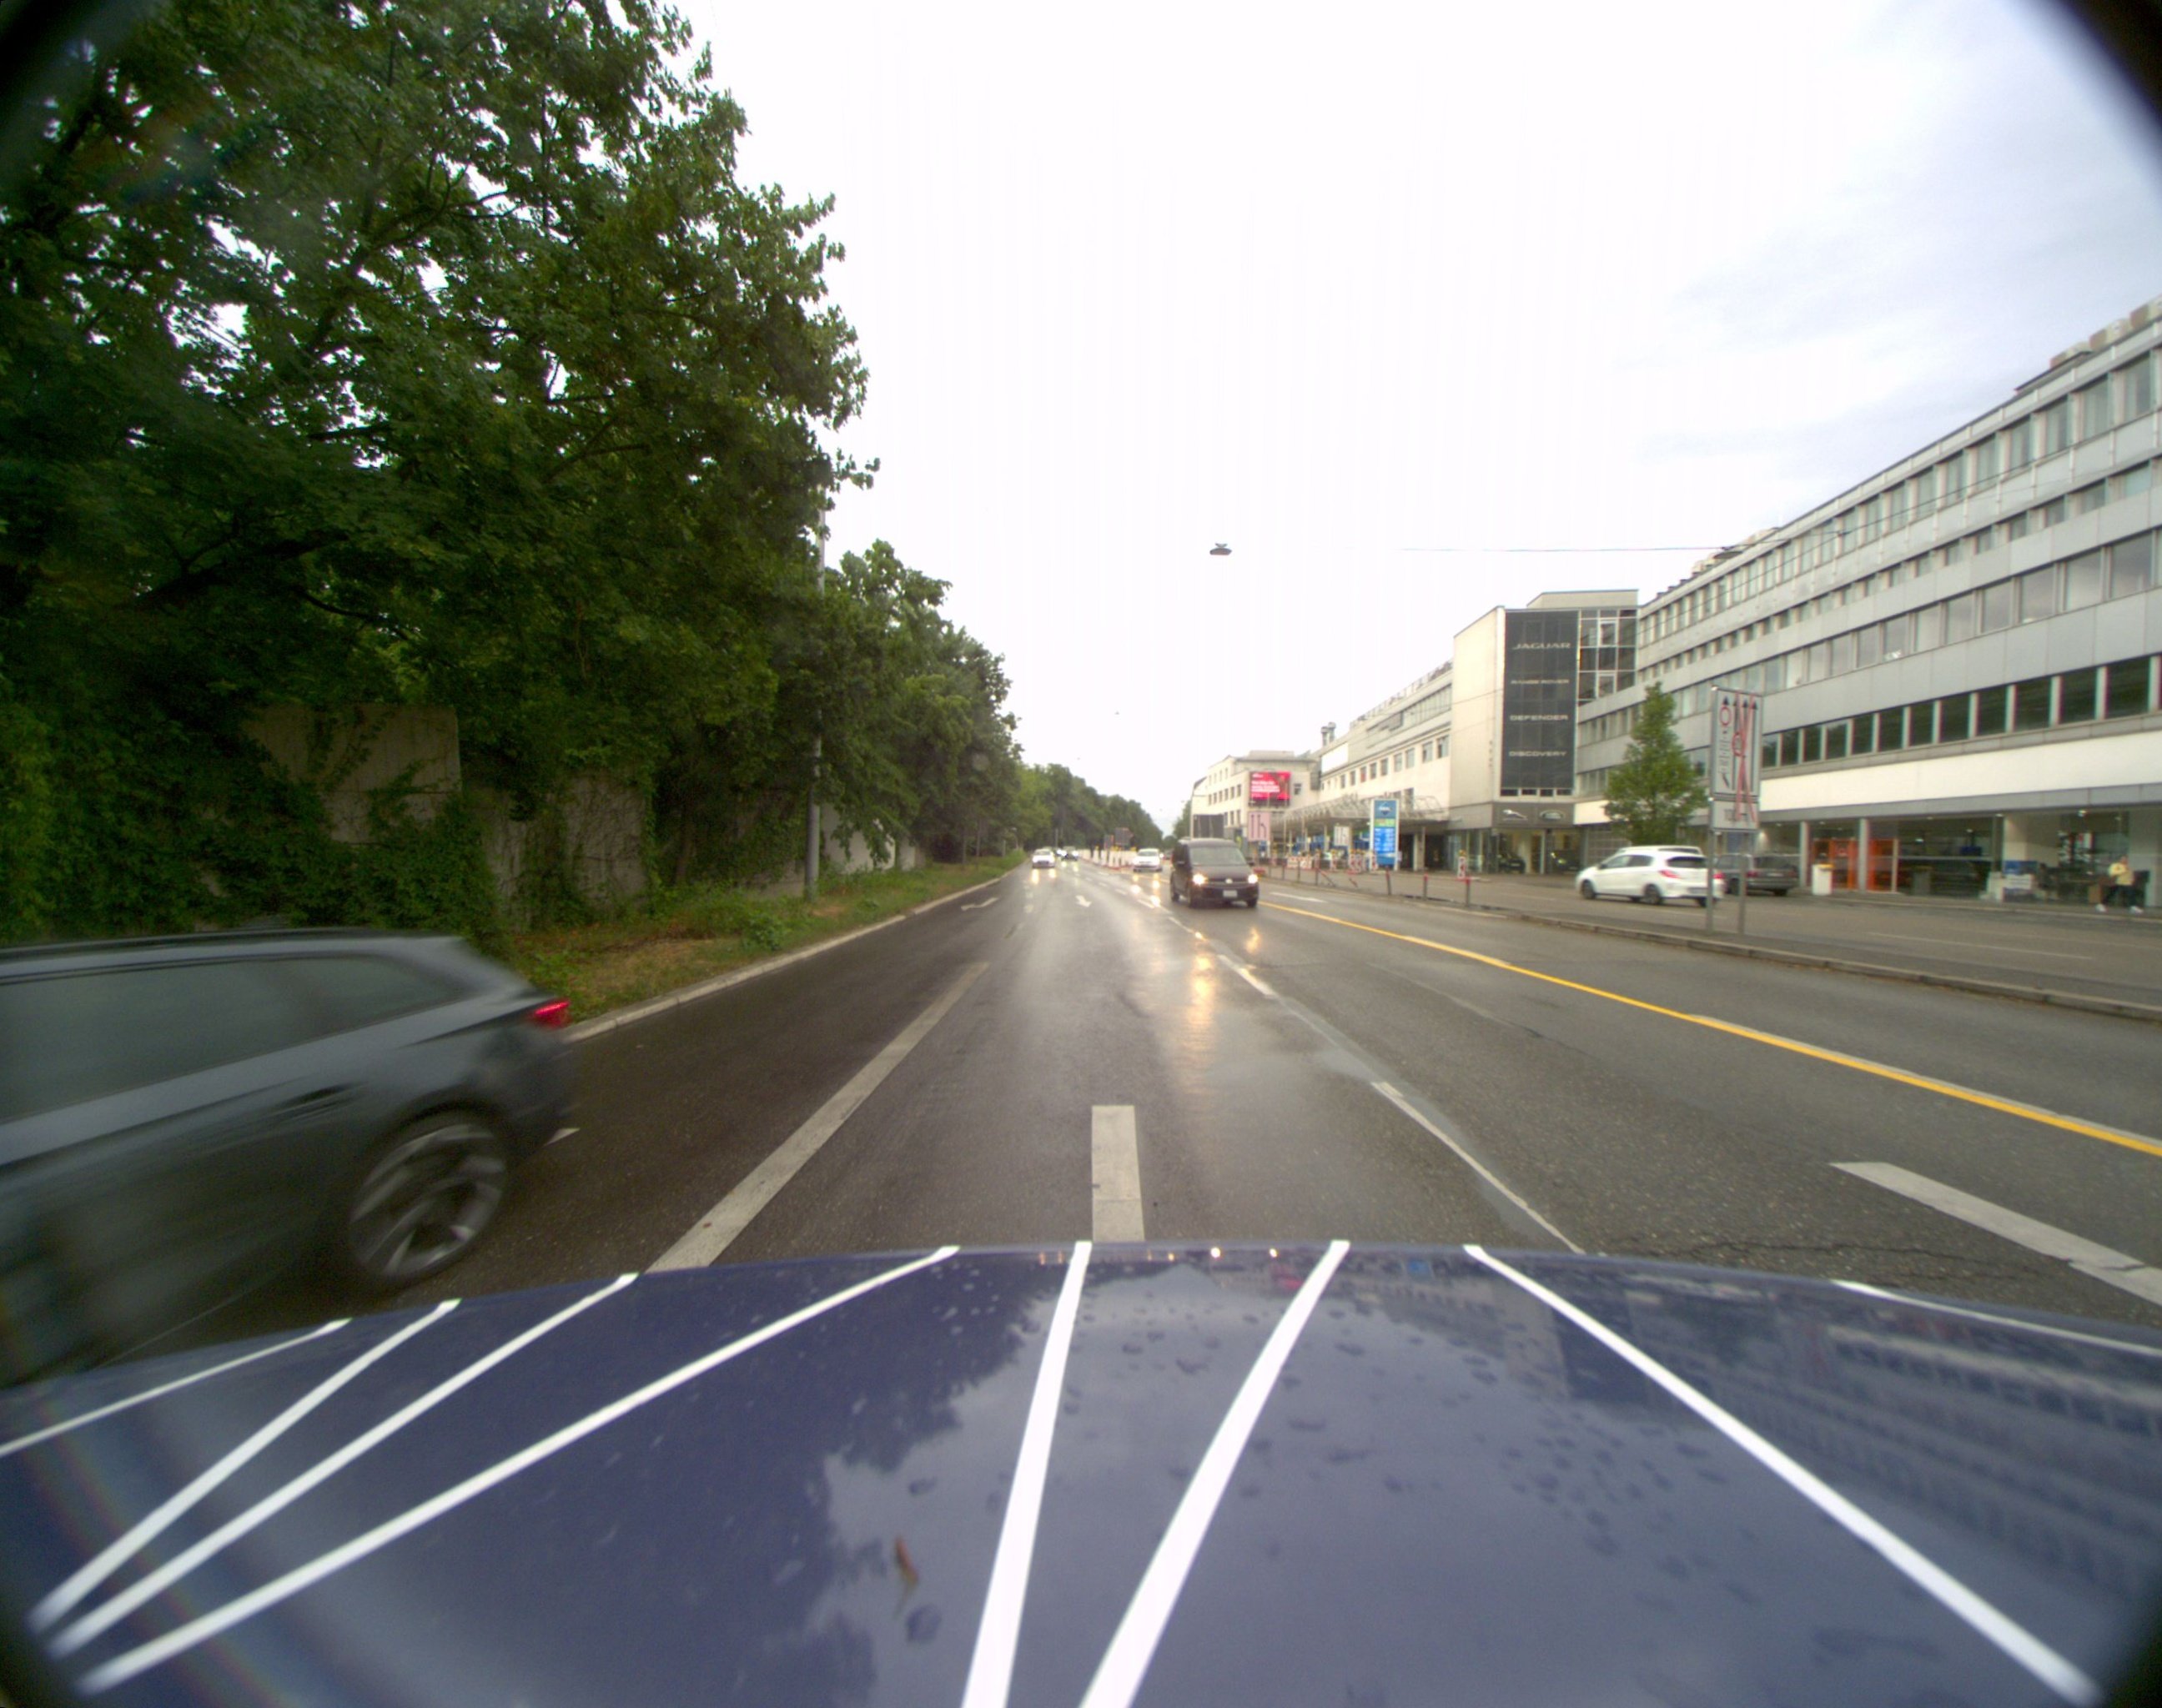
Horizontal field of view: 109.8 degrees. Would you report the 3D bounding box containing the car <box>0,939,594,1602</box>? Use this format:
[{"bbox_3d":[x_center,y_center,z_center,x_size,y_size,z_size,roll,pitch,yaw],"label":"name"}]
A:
[{"bbox_3d":[-3.561,1.166,1.648,1.752,1.395,4.416,-3,0,7],"label":"car"}]

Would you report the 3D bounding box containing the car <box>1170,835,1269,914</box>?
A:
[{"bbox_3d":[3.541,0.469,20.259,1.905,1.804,4.430,-2,1,2],"label":"car"}]

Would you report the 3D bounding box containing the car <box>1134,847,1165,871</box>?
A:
[{"bbox_3d":[4.530,0.304,49.851,1.770,1.407,4.335,-2,1,7],"label":"car"}]

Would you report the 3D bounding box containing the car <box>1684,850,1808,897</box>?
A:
[{"bbox_3d":[28.283,0.767,32.518,1.922,1.805,4.166,-2,1,6],"label":"car"}]

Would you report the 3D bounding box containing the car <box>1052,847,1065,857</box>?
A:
[{"bbox_3d":[-3.879,-0.403,131.598,1.814,1.590,4.333,-2,1,2],"label":"car"}]

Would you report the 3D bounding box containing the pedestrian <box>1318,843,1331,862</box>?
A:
[{"bbox_3d":[23.561,-0.163,73.482,0.895,1.804,0.941,-2,1,5],"label":"pedestrian"}]

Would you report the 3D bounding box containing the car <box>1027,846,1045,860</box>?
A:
[{"bbox_3d":[-5.560,-0.145,93.726,1.814,1.590,4.333,-2,1,1],"label":"car"}]

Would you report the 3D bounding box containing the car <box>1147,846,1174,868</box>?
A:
[{"bbox_3d":[6.006,0.195,57.733,1.771,1.608,3.949,-2,1,2],"label":"car"}]

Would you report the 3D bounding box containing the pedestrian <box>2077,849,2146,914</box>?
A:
[{"bbox_3d":[29.139,0.771,21.491,0.761,1.765,0.864,-2,1,8],"label":"pedestrian"}]

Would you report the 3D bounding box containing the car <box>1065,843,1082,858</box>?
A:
[{"bbox_3d":[-0.851,-0.421,85.349,1.814,1.590,4.332,-2,1,-1],"label":"car"}]

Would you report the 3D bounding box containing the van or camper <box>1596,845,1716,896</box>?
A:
[{"bbox_3d":[23.316,0.594,31.071,1.939,1.913,4.687,0,1,9],"label":"van or camper"}]

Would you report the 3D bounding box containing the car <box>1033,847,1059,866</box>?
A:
[{"bbox_3d":[-2.818,0.164,62.036,1.814,1.444,4.333,-2,1,2],"label":"car"}]

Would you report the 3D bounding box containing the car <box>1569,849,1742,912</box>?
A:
[{"bbox_3d":[16.051,0.676,21.499,1.806,1.523,3.763,4,0,-4],"label":"car"}]

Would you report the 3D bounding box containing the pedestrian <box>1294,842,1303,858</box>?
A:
[{"bbox_3d":[24.693,-0.452,86.133,0.894,1.804,0.942,-2,1,14],"label":"pedestrian"}]
